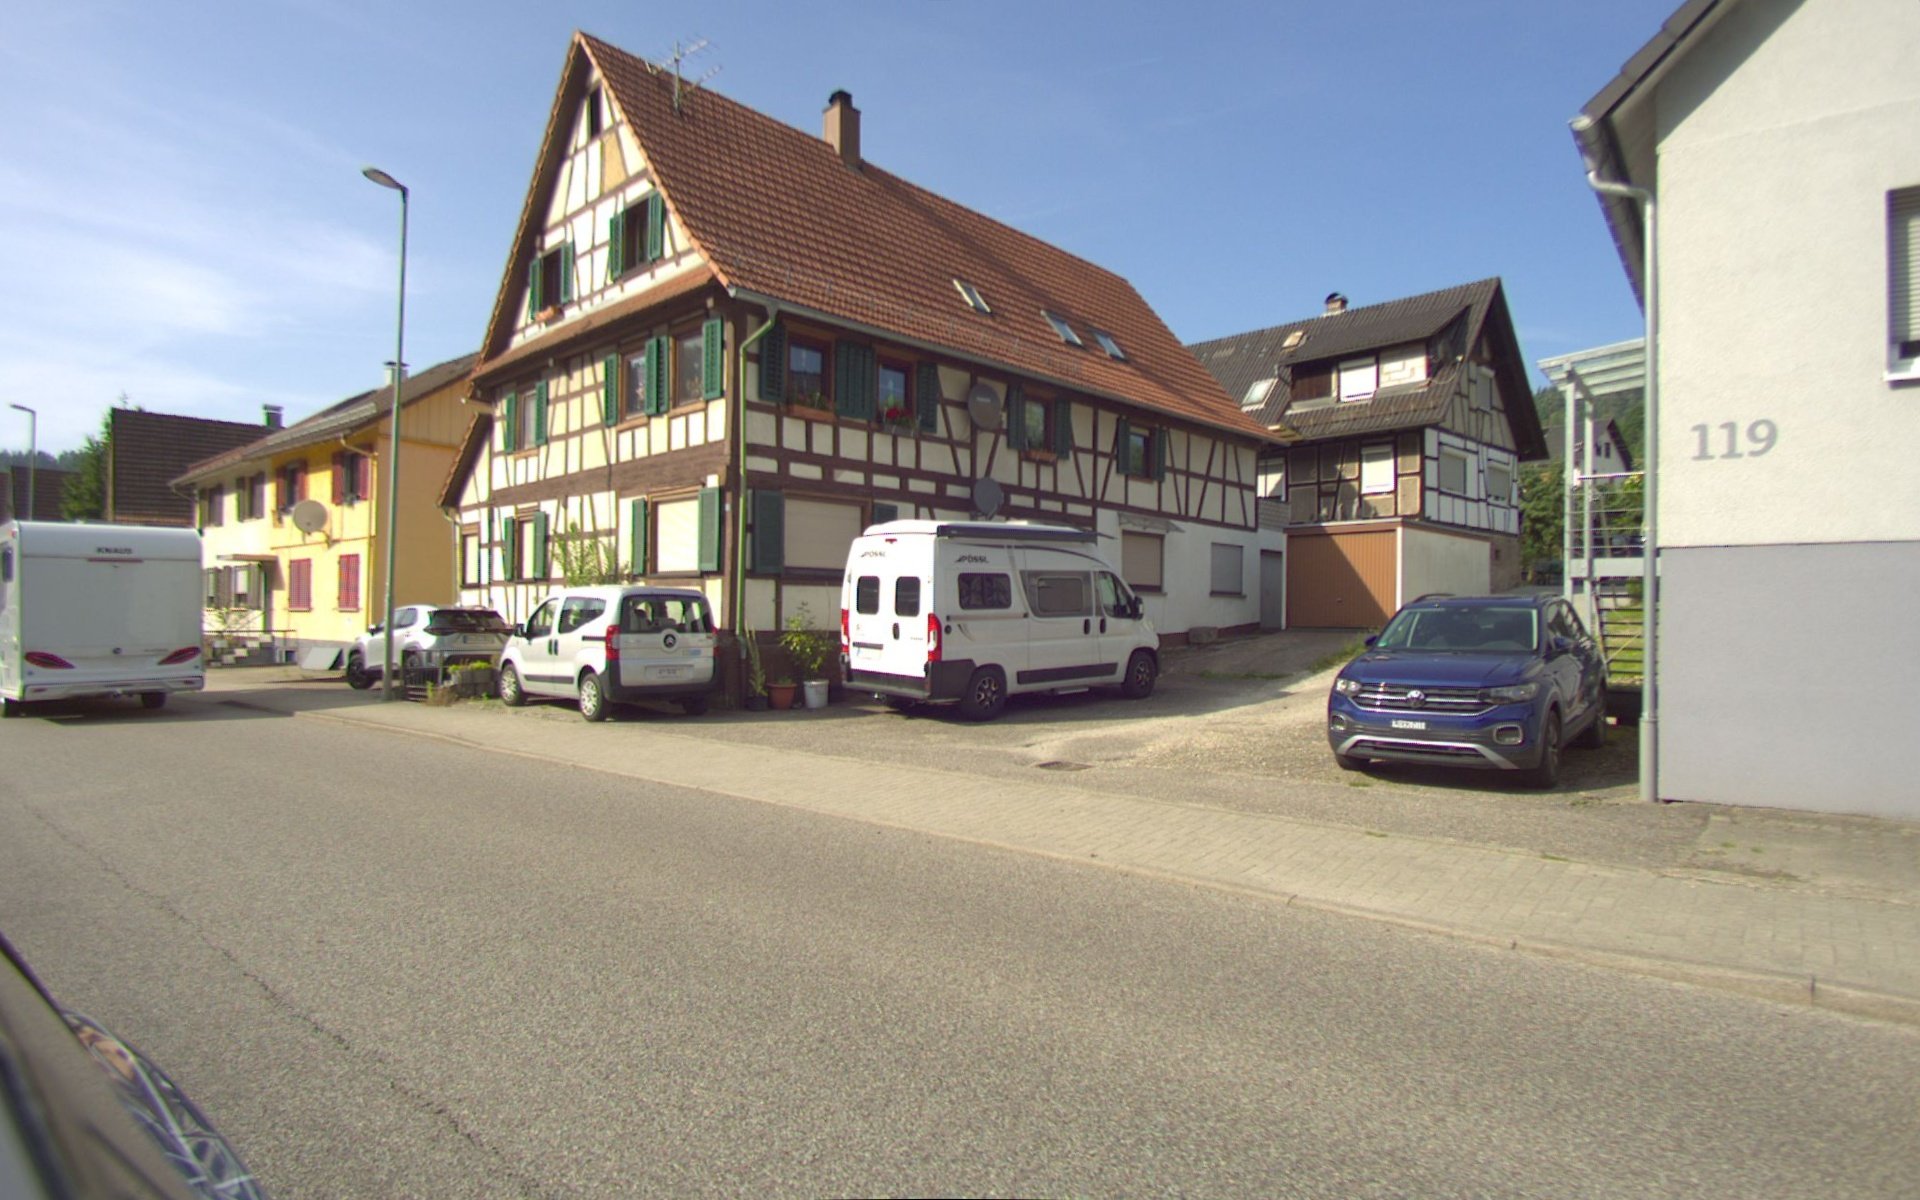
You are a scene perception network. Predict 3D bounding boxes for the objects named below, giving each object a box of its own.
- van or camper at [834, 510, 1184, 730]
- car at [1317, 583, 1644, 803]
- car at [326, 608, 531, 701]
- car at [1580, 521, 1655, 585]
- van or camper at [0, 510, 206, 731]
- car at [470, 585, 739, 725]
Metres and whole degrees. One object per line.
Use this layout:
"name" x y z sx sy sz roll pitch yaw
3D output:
"van or camper" 0.888 0.219 14.945 5.114 2.683 2.194 -1 0 -43
"car" 5.016 0.670 9.483 1.905 1.561 3.879 -2 0 40
"car" -9.806 0.959 18.565 4.090 1.530 1.865 -1 -3 40
"car" 22.542 -1.651 34.655 1.663 2.028 3.775 1 5 41
"van or camper" -14.805 0.336 16.685 7.119 2.961 2.173 -1 -1 39
"car" -5.116 0.676 14.260 4.268 1.677 1.879 -1 -1 44
